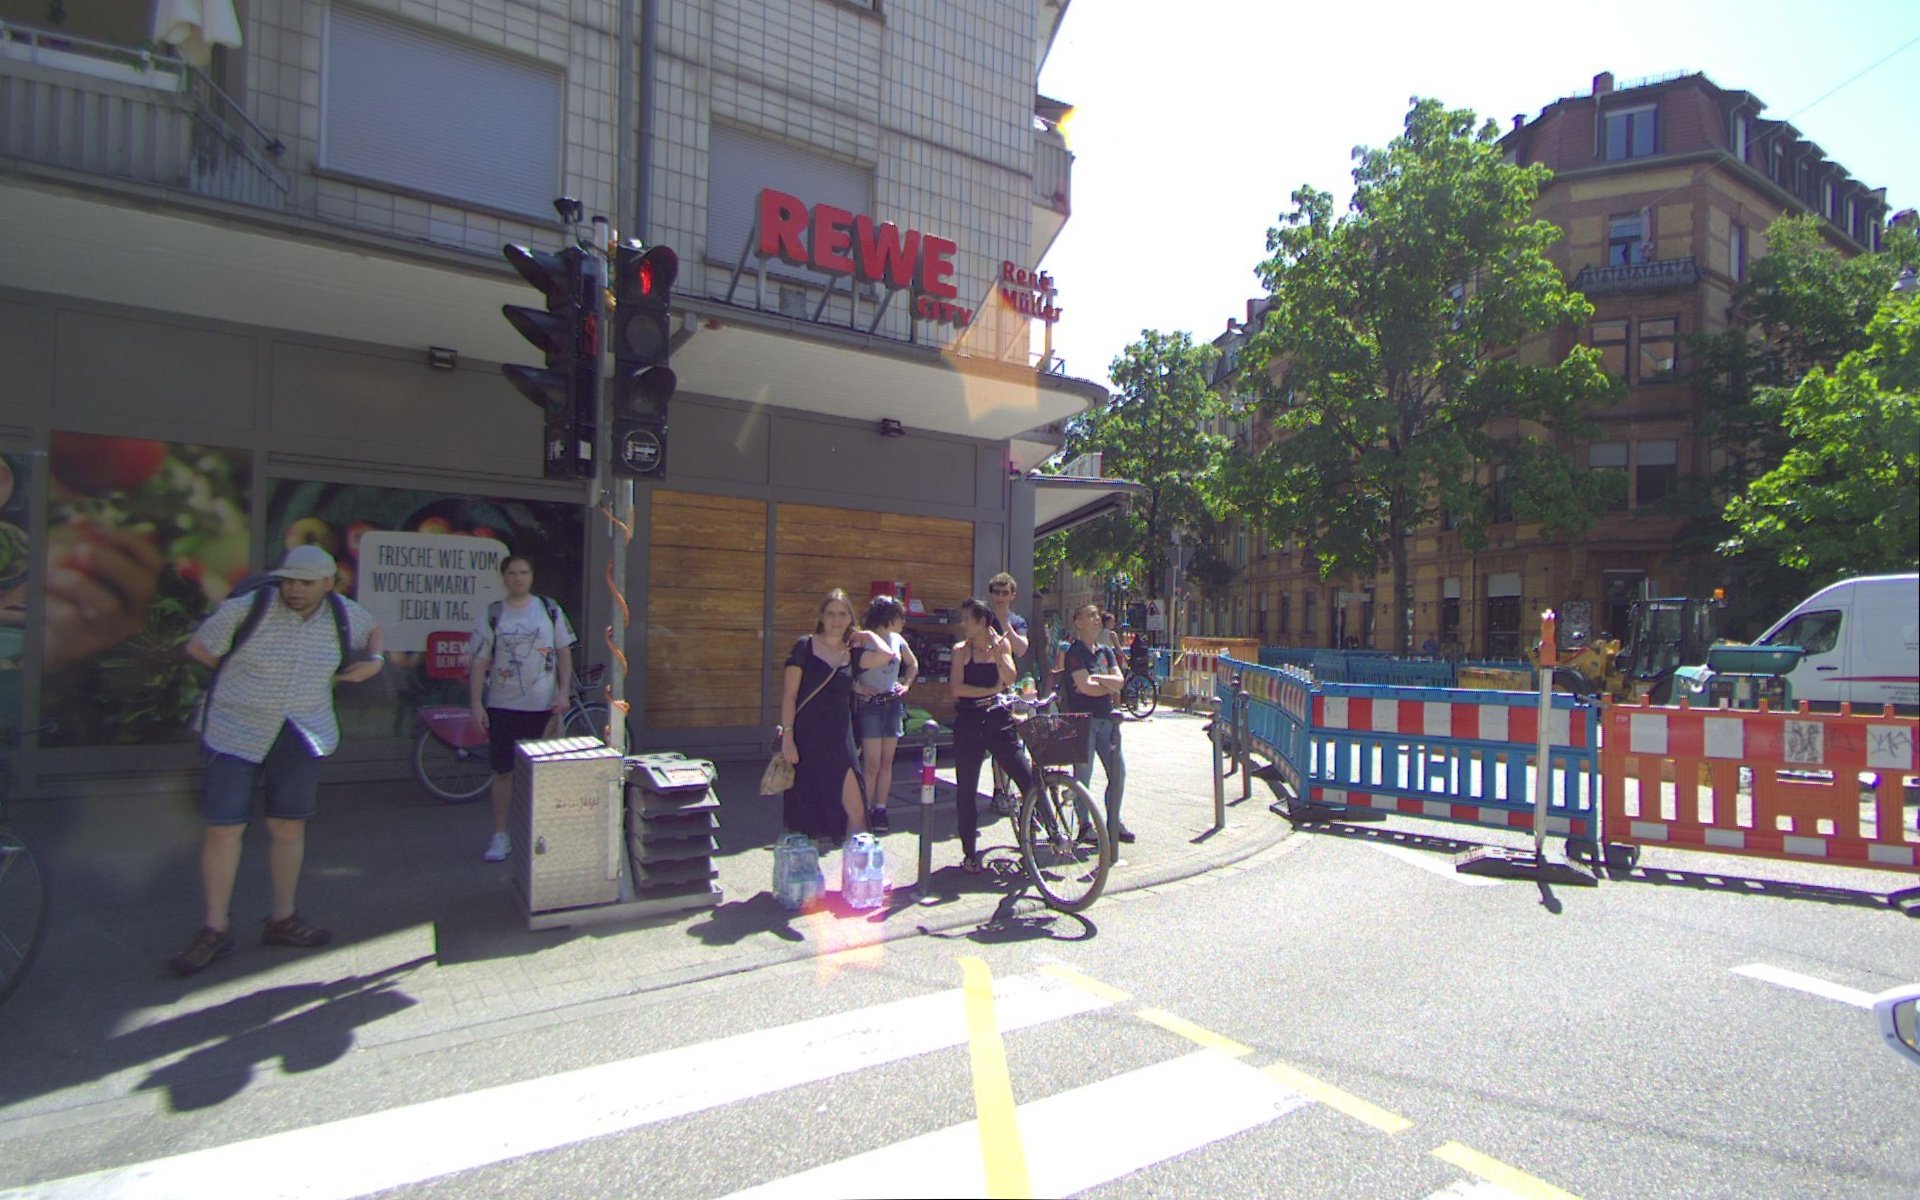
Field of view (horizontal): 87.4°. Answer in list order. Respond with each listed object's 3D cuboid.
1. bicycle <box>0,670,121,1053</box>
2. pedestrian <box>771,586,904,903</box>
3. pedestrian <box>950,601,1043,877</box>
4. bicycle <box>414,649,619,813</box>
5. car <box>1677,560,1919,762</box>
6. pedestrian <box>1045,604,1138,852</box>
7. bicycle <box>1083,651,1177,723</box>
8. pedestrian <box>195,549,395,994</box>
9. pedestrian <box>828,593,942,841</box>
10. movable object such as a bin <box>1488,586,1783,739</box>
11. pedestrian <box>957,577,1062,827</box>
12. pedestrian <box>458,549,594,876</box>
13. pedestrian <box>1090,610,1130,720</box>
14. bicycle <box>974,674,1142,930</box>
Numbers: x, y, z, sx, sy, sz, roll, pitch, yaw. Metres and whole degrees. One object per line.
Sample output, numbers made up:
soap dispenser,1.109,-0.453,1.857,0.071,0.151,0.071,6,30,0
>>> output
bicycle,-3.812,0.926,4.028,0.573,1.137,1.784,3,0,-38
pedestrian,-0.689,0.767,5.620,0.506,1.654,0.537,3,-2,-35
pedestrian,0.211,0.811,6.070,0.451,1.586,0.497,2,1,-6
bicycle,-3.314,0.937,7.610,0.316,1.101,1.426,1,0,38
car,14.443,0.894,14.199,2.353,2.788,6.588,3,0,-31
pedestrian,0.908,0.856,6.948,0.471,1.639,0.387,3,-2,-35
bicycle,2.741,1.389,16.301,1.551,1.086,0.341,0,-2,41
pedestrian,-2.902,0.687,4.409,0.626,1.749,0.652,3,-2,-35
pedestrian,-0.529,0.797,7.111,0.594,1.654,0.505,3,-2,-35
movable object such as a bin,13.495,1.134,20.351,1.936,2.694,4.512,3,0,-35
pedestrian,0.382,0.763,7.779,0.594,1.844,0.505,3,-2,-35
pedestrian,-2.550,0.630,5.897,0.594,1.794,0.505,3,-2,-35
pedestrian,2.414,1.037,16.181,0.578,1.738,0.391,1,-2,7
bicycle,0.507,1.073,5.911,0.459,1.134,1.807,2,0,-11
